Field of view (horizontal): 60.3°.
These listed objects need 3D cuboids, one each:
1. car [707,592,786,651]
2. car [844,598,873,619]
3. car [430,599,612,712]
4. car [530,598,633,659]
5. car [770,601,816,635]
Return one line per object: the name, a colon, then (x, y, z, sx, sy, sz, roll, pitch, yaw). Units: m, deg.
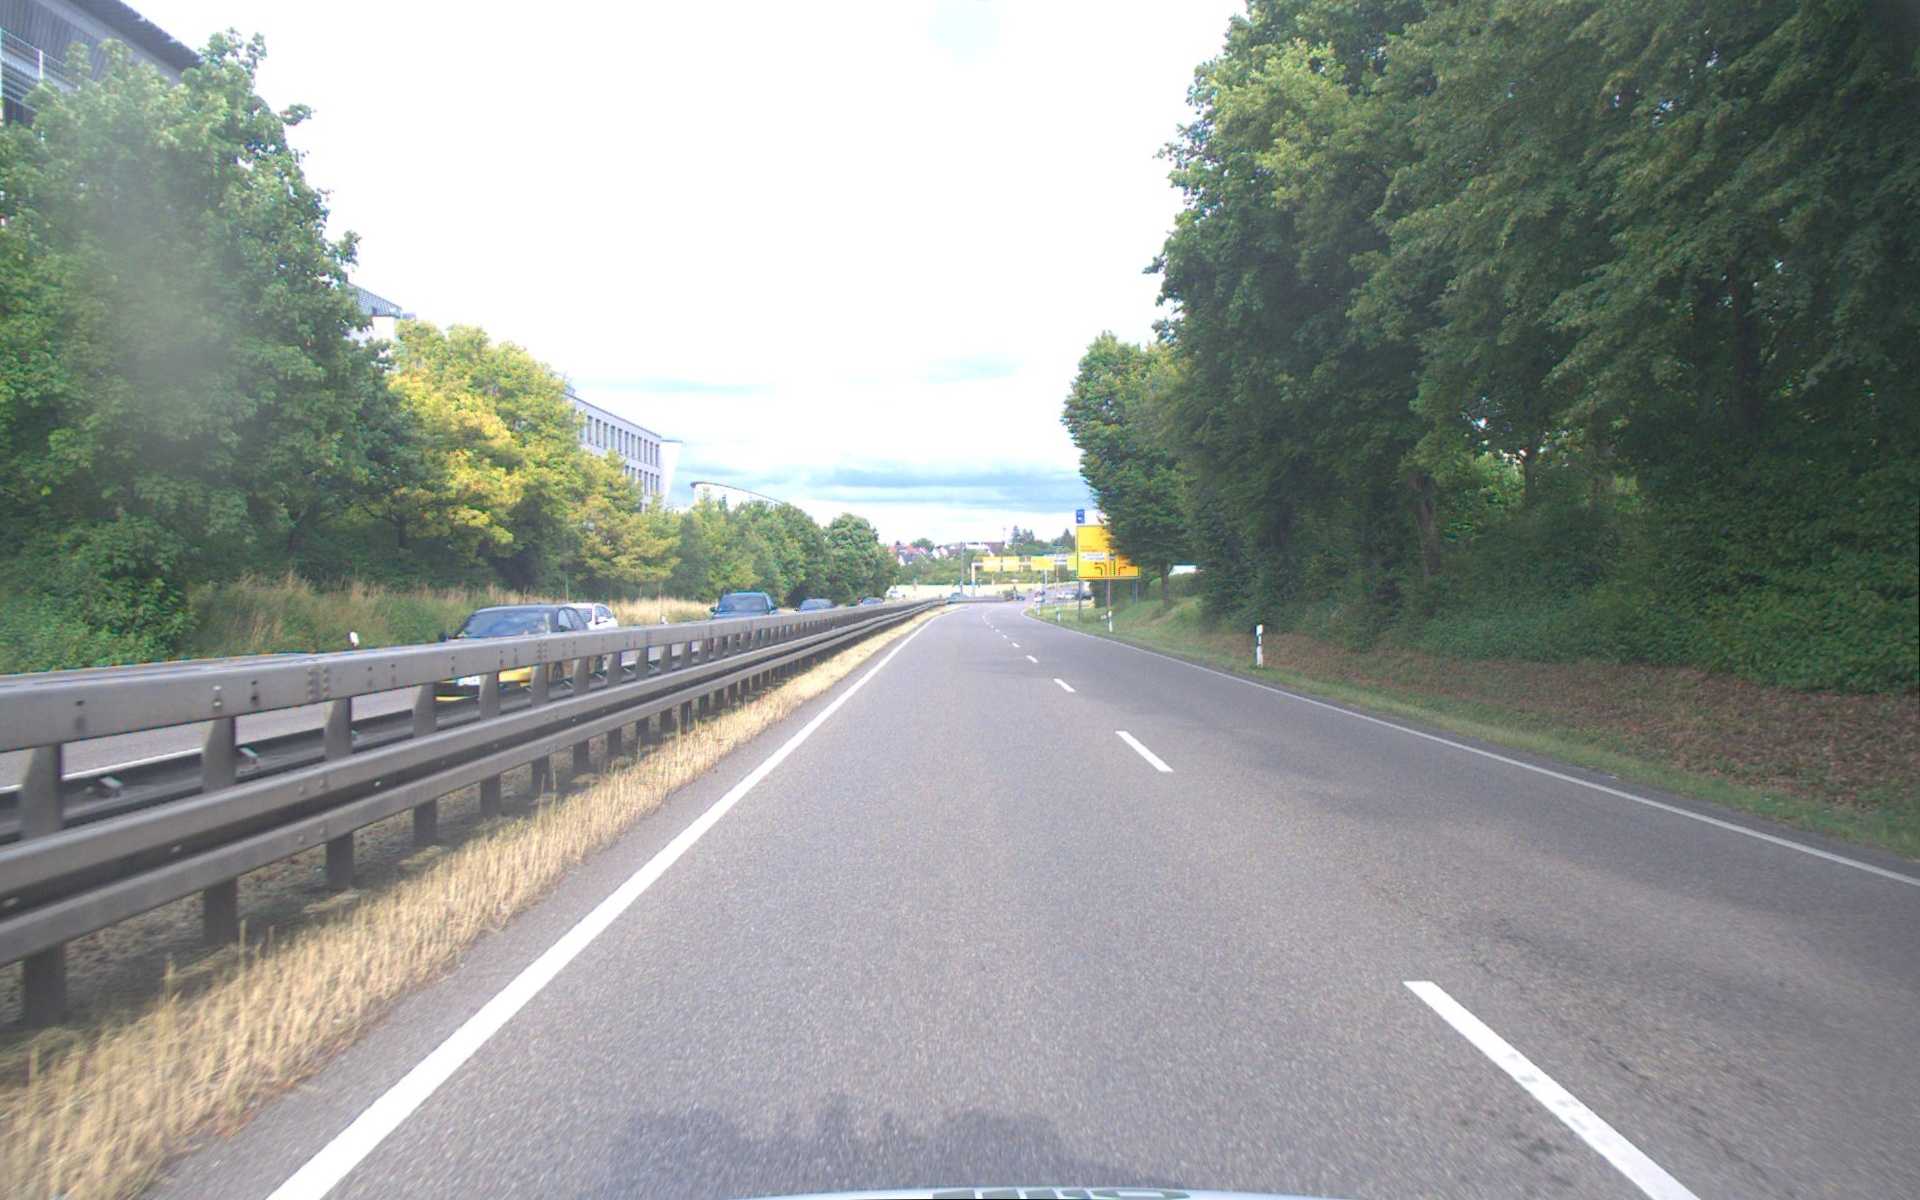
car: (-6.443, 0.619, 50.435, 1.707, 1.673, 5.279, -1, 0, 0)
car: (-7.494, 0.641, 122.242, 1.798, 1.402, 4.565, -4, 0, -1)
car: (-6.226, 0.738, 23.858, 1.559, 1.473, 3.999, -1, 0, 0)
car: (-10.130, 0.726, 44.602, 1.780, 1.511, 4.416, -1, 0, -1)
car: (-7.668, 0.814, 76.401, 1.707, 1.483, 4.311, -2, 0, -1)
